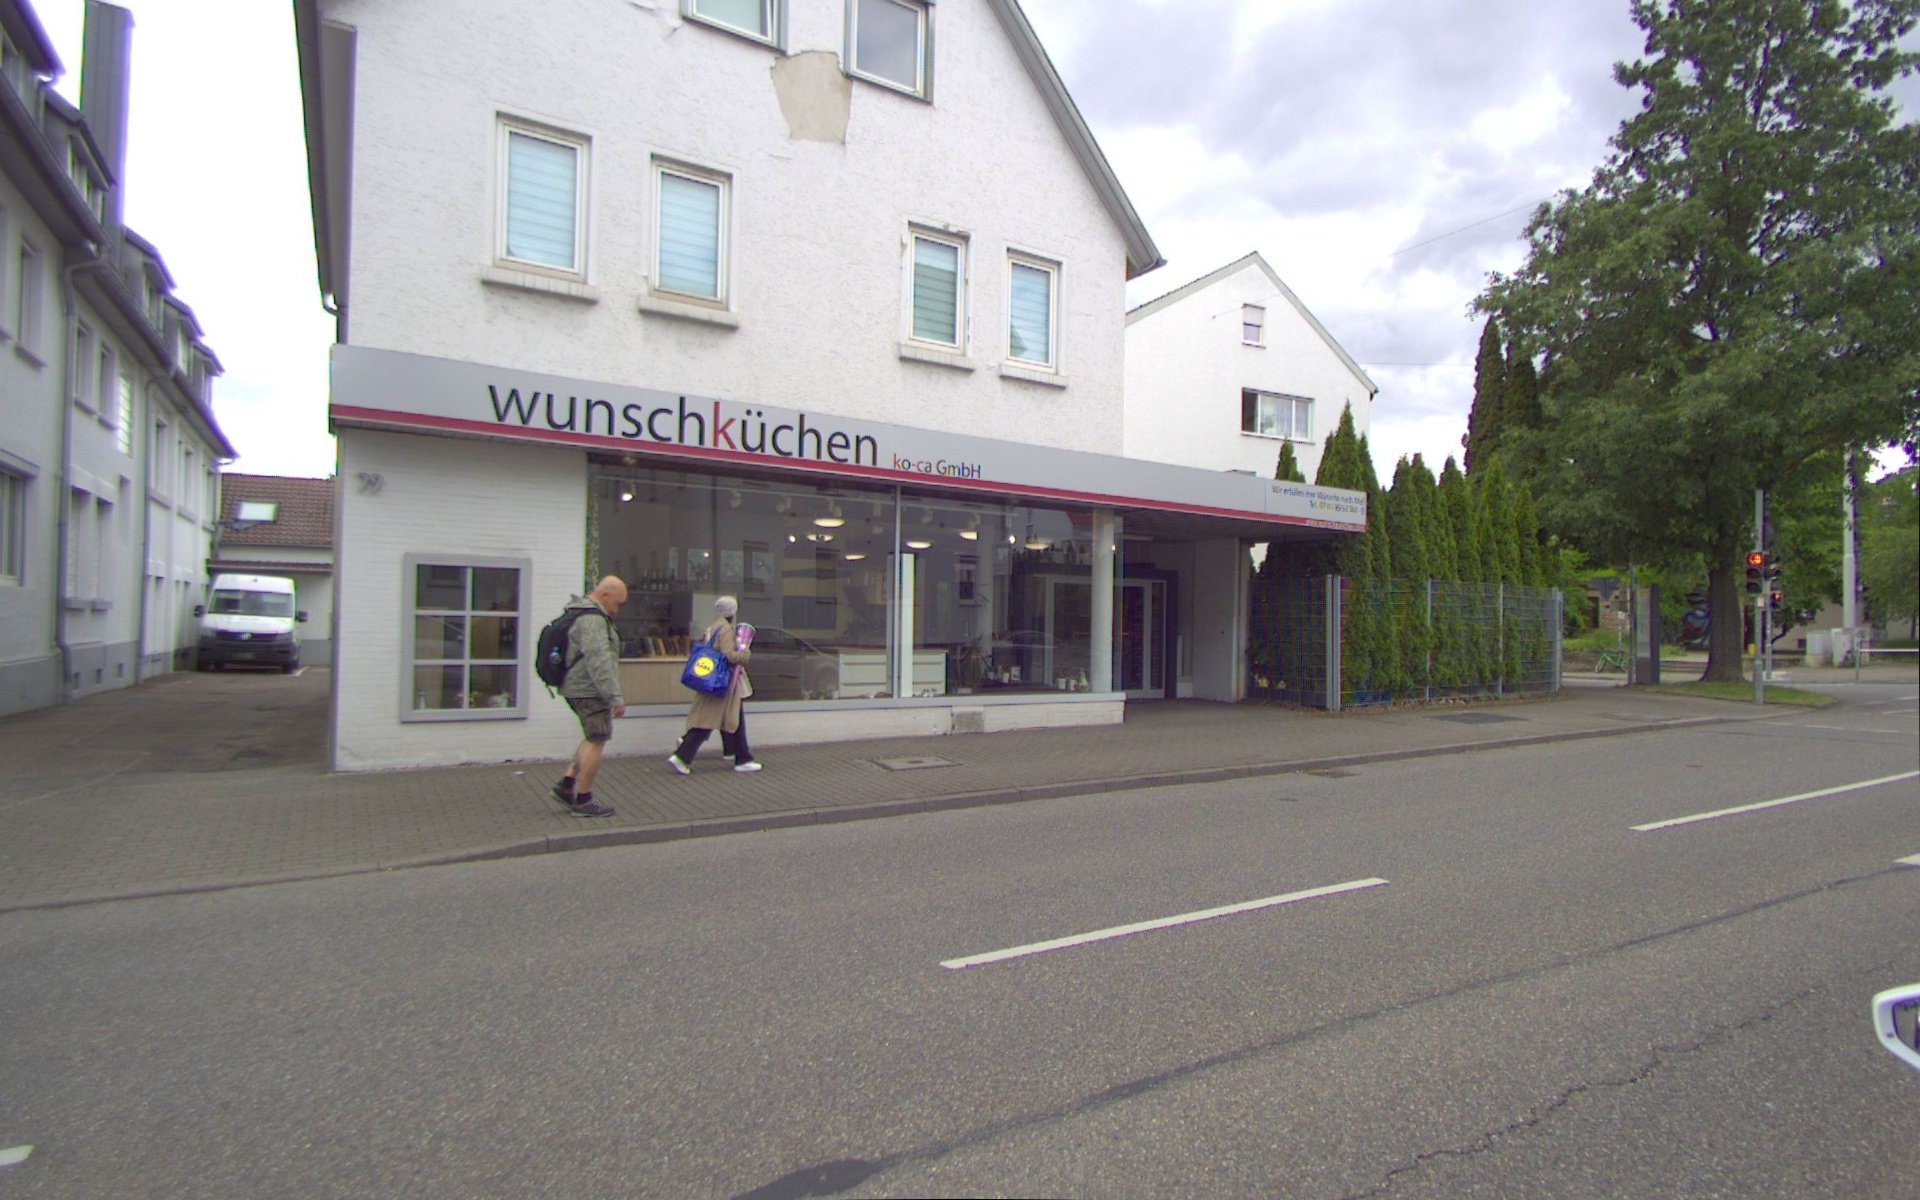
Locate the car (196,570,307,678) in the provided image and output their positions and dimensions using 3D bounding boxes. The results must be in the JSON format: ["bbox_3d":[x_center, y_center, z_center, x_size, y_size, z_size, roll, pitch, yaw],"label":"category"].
[{"bbox_3d":[-19.056,0.604,27.258,1.938,2.541,5.943,4,-2,-32],"label":"car"}]

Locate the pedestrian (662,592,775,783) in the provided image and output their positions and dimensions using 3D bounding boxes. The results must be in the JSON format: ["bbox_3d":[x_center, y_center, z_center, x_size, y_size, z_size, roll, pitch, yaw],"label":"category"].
[{"bbox_3d":[-2.233,0.767,9.252,0.784,1.638,0.747,1,2,-31],"label":"pedestrian"}]

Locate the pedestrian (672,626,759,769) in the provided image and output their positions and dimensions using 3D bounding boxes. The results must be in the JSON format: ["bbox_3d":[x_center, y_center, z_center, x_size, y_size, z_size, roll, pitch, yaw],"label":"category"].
[{"bbox_3d":[-2.367,0.916,9.703,0.647,1.297,0.596,1,1,-31],"label":"pedestrian"}]

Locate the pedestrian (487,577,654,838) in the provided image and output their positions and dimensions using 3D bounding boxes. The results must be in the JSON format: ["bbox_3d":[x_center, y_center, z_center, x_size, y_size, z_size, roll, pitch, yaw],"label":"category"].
[{"bbox_3d":[-2.869,0.735,7.380,1.008,1.767,0.747,1,1,-31],"label":"pedestrian"}]
